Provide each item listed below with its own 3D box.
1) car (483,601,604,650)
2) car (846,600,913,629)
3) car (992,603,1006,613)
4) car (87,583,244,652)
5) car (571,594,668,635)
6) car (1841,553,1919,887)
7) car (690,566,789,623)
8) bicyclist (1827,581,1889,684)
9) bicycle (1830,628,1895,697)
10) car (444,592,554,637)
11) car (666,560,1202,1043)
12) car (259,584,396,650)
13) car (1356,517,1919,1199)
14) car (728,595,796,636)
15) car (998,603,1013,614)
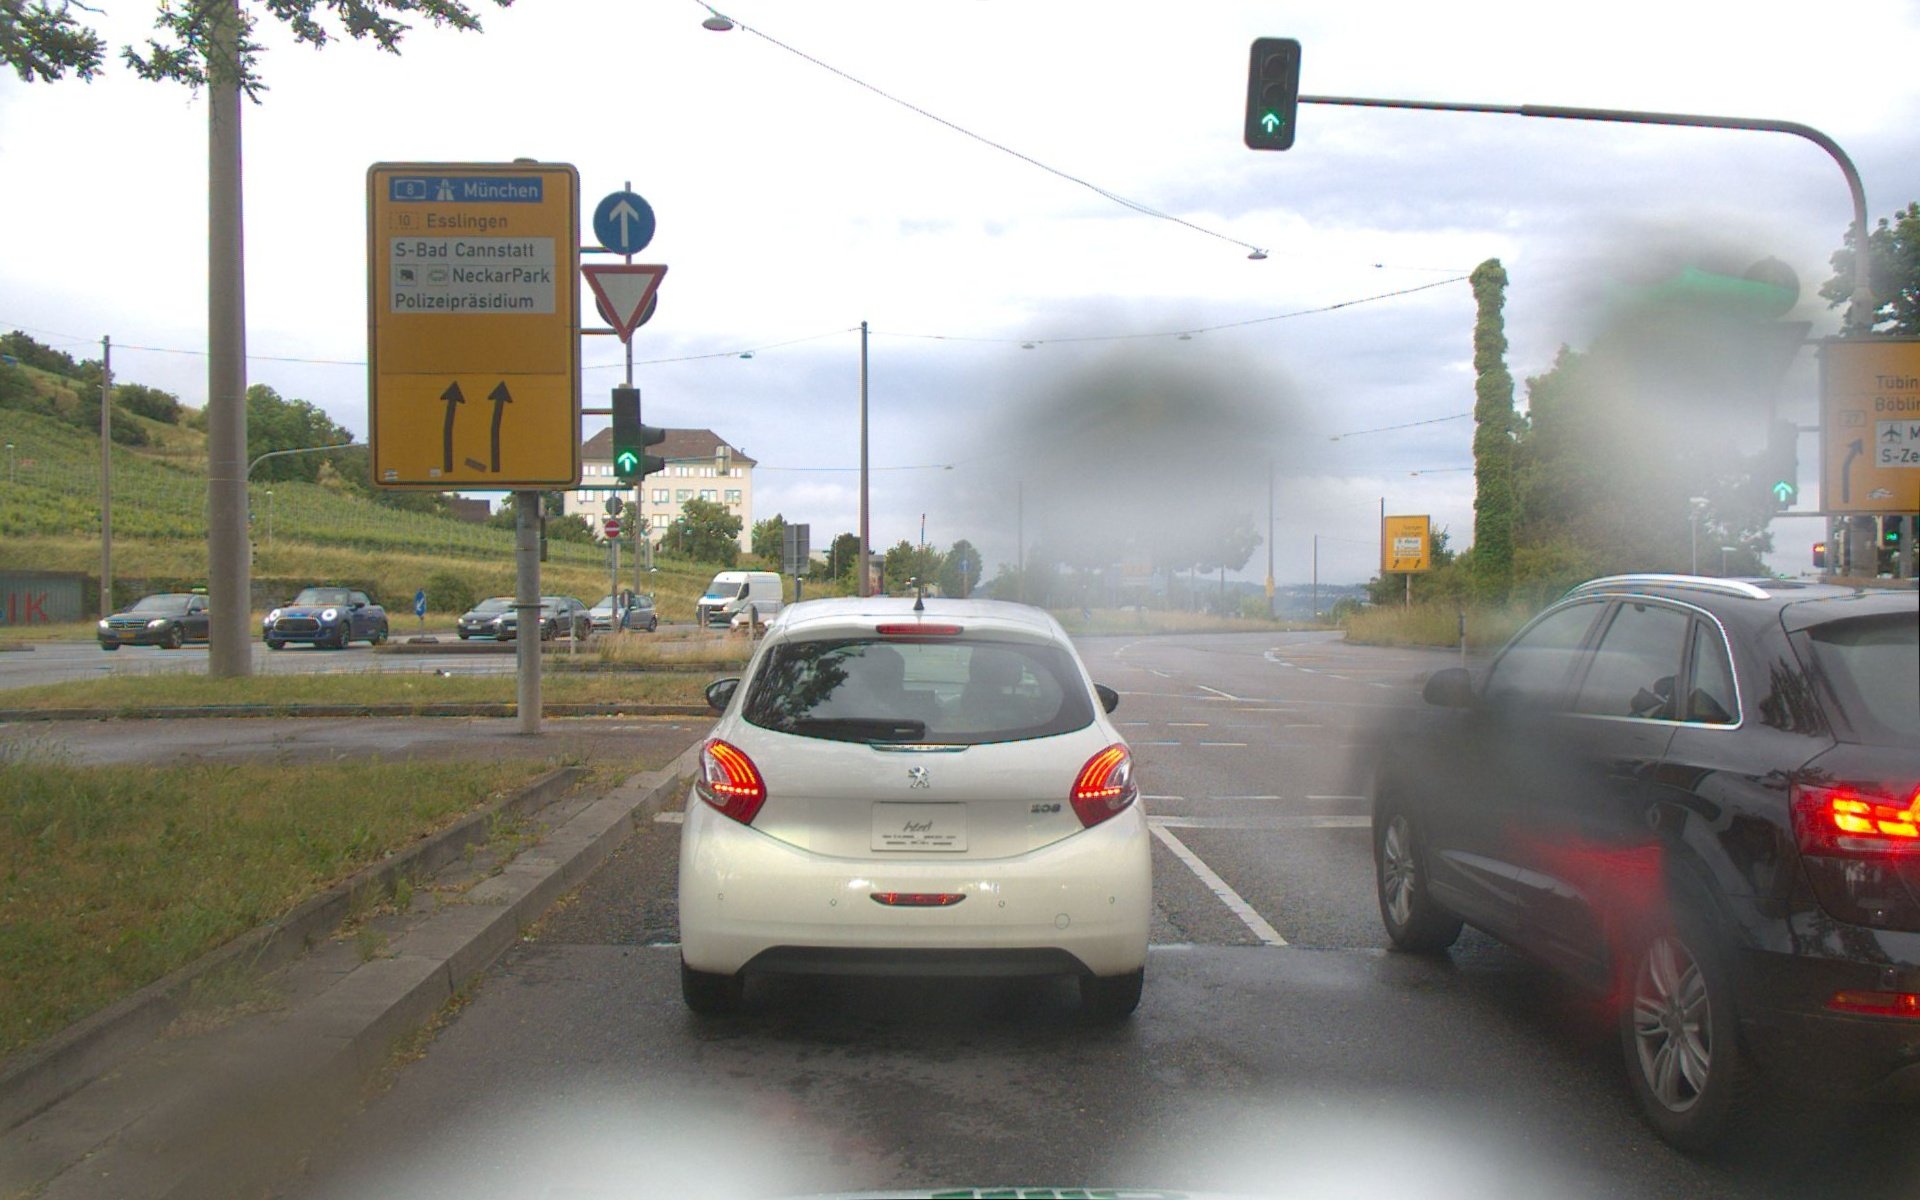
[{"bbox_3d":[-13.701,0.830,54.751,1.860,1.515,4.896,1,0,12],"label":"car"},{"bbox_3d":[-4.591,0.835,94.751,1.955,1.539,4.227,2,0,27],"label":"car"},{"bbox_3d":[5.789,1.215,245.092,1.804,1.512,3.997,0,0,-3],"label":"car"},{"bbox_3d":[-20.644,0.456,43.202,1.792,1.652,4.566,2,0,0],"label":"car"},{"bbox_3d":[-14.159,0.638,69.007,1.953,1.603,4.194,2,0,22],"label":"car"},{"bbox_3d":[5.893,0.651,6.915,1.828,1.703,4.563,1,1,-2],"label":"car"},{"bbox_3d":[-10.677,-0.207,80.742,1.953,2.604,6.169,2,0,22],"label":"car"},{"bbox_3d":[14.495,0.520,26.713,0.793,1.611,1.022,1,-1,26],"label":"bicyclist"},{"bbox_3d":[14.601,0.989,26.797,0.793,1.040,2.326,-1,-1,26],"label":"bicycle"},{"bbox_3d":[-16.310,0.470,58.787,1.785,1.498,4.672,0,1,13],"label":"car"},{"bbox_3d":[-0.136,0.652,7.244,1.683,1.515,3.998,1,0,-2],"label":"car"},{"bbox_3d":[-14.854,0.417,39.051,1.750,1.420,3.881,1,-1,-1],"label":"car"},{"bbox_3d":[2.863,0.668,5.768,1.846,1.623,4.112,2,0,-2],"label":"car"},{"bbox_3d":[-7.360,0.587,61.876,1.738,1.450,4.376,0,-1,4],"label":"car"},{"bbox_3d":[6.563,1.187,236.726,1.804,1.512,3.997,0,0,-3],"label":"car"}]
